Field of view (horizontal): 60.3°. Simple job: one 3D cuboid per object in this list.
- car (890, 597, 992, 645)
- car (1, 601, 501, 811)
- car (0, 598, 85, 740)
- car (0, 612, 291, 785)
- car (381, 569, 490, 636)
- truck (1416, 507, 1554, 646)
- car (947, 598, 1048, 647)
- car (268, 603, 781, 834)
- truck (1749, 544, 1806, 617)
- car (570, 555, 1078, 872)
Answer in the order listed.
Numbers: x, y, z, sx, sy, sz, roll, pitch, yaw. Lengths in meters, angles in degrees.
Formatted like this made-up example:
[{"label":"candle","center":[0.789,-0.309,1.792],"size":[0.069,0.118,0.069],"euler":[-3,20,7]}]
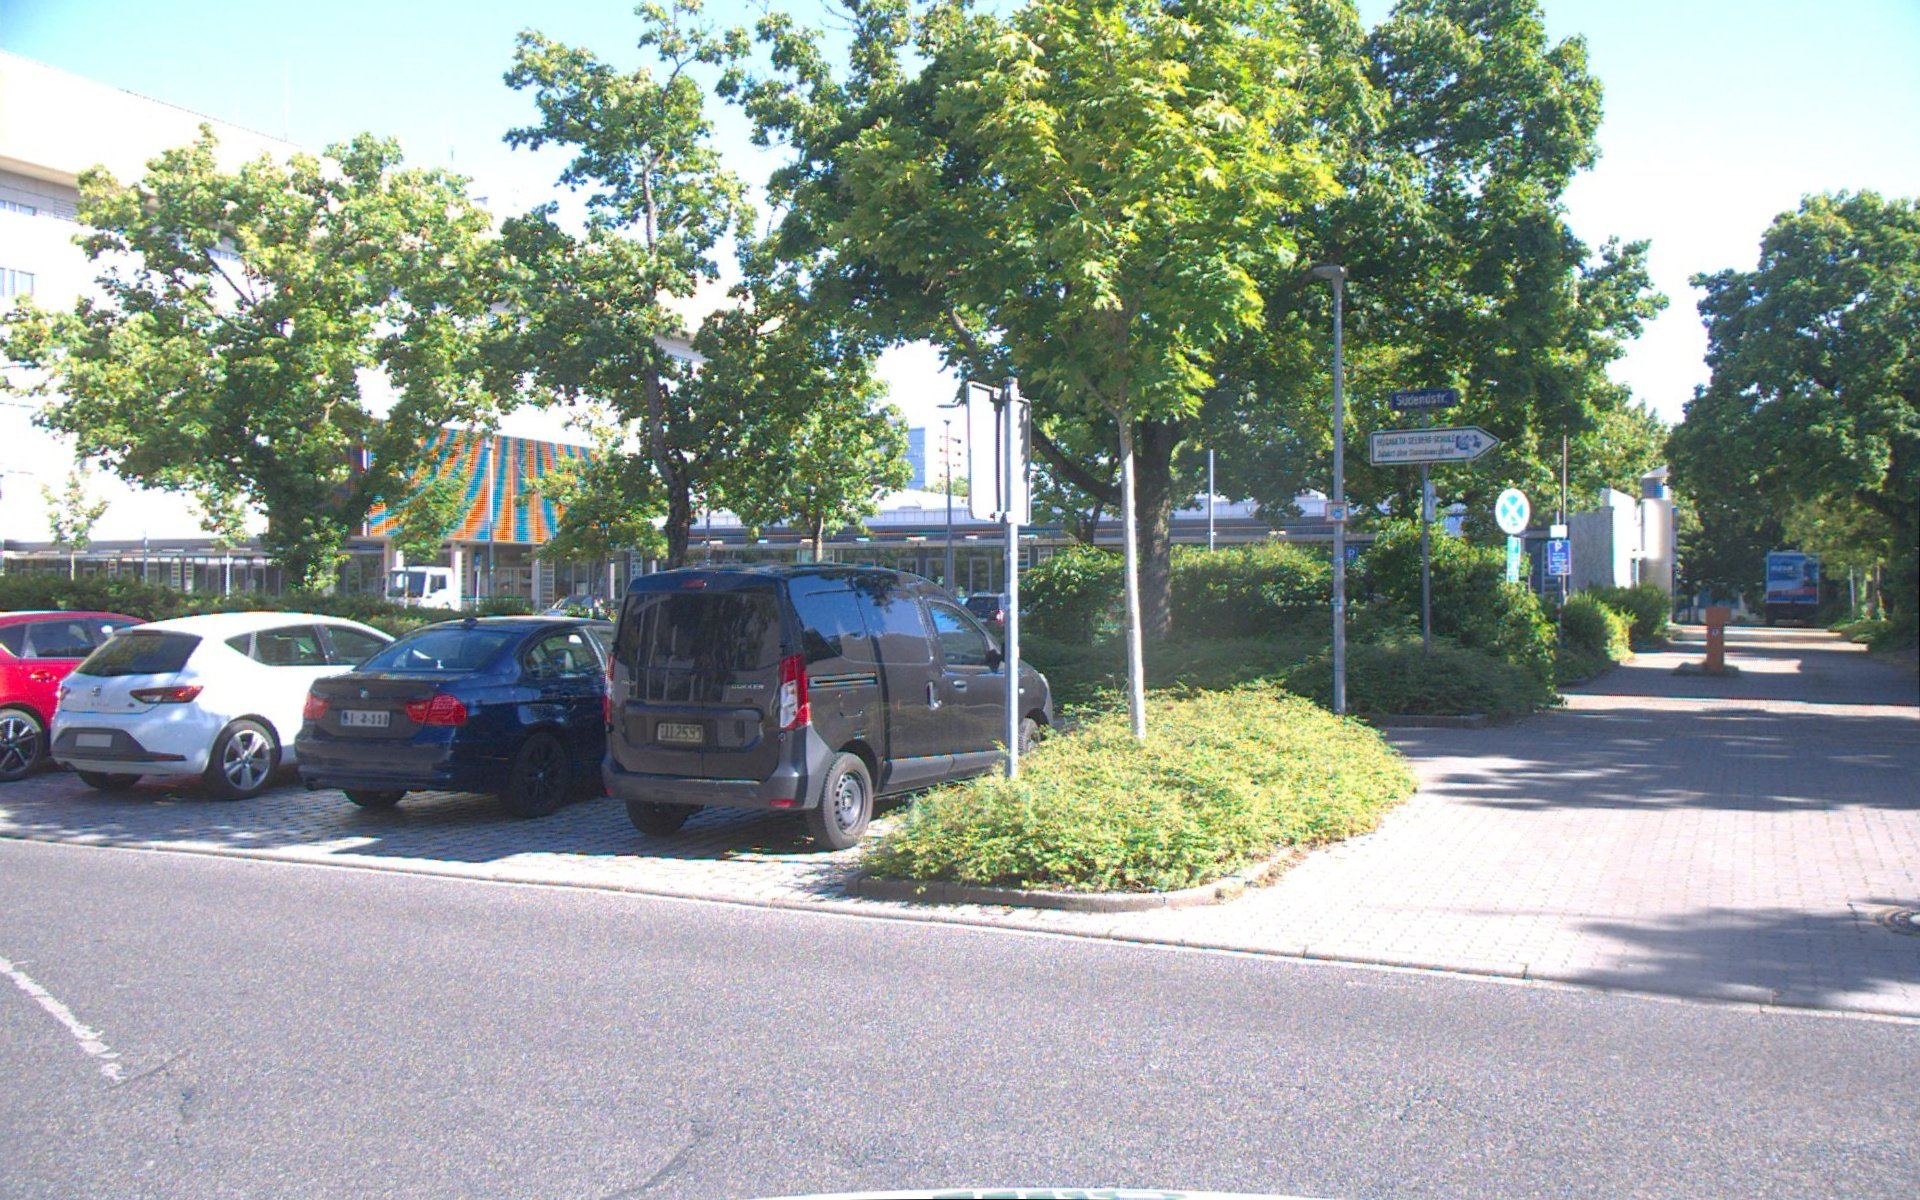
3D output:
[{"label":"car","center":[-0.606,0.696,56.144],"size":[1.801,1.524,3.902],"euler":[0,1,28]},{"label":"car","center":[-6.067,0.806,14.657],"size":[1.766,1.461,3.910],"euler":[0,2,24]},{"label":"car","center":[-12.202,0.810,18.692],"size":[1.641,1.605,3.910],"euler":[1,1,24]},{"label":"car","center":[-8.569,0.884,15.904],"size":[1.634,1.451,3.910],"euler":[-1,0,24]},{"label":"car","center":[-20.724,0.074,65.437],"size":[2.183,2.534,3.641],"euler":[0,1,28]},{"label":"truck","center":[15.886,-0.698,49.741],"size":[2.749,3.873,6.915],"euler":[1,1,28]},{"label":"car","center":[1.294,0.734,55.299],"size":[1.801,1.524,3.902],"euler":[0,1,28]},{"label":"car","center":[-3.283,0.808,13.383],"size":[1.787,1.430,4.167],"euler":[0,1,24]},{"label":"truck","center":[46.526,-1.129,94.197],"size":[2.706,3.937,9.320],"euler":[1,1,26]},{"label":"car","center":[-0.771,0.635,12.147],"size":[1.837,1.879,4.165],"euler":[0,1,26]}]
